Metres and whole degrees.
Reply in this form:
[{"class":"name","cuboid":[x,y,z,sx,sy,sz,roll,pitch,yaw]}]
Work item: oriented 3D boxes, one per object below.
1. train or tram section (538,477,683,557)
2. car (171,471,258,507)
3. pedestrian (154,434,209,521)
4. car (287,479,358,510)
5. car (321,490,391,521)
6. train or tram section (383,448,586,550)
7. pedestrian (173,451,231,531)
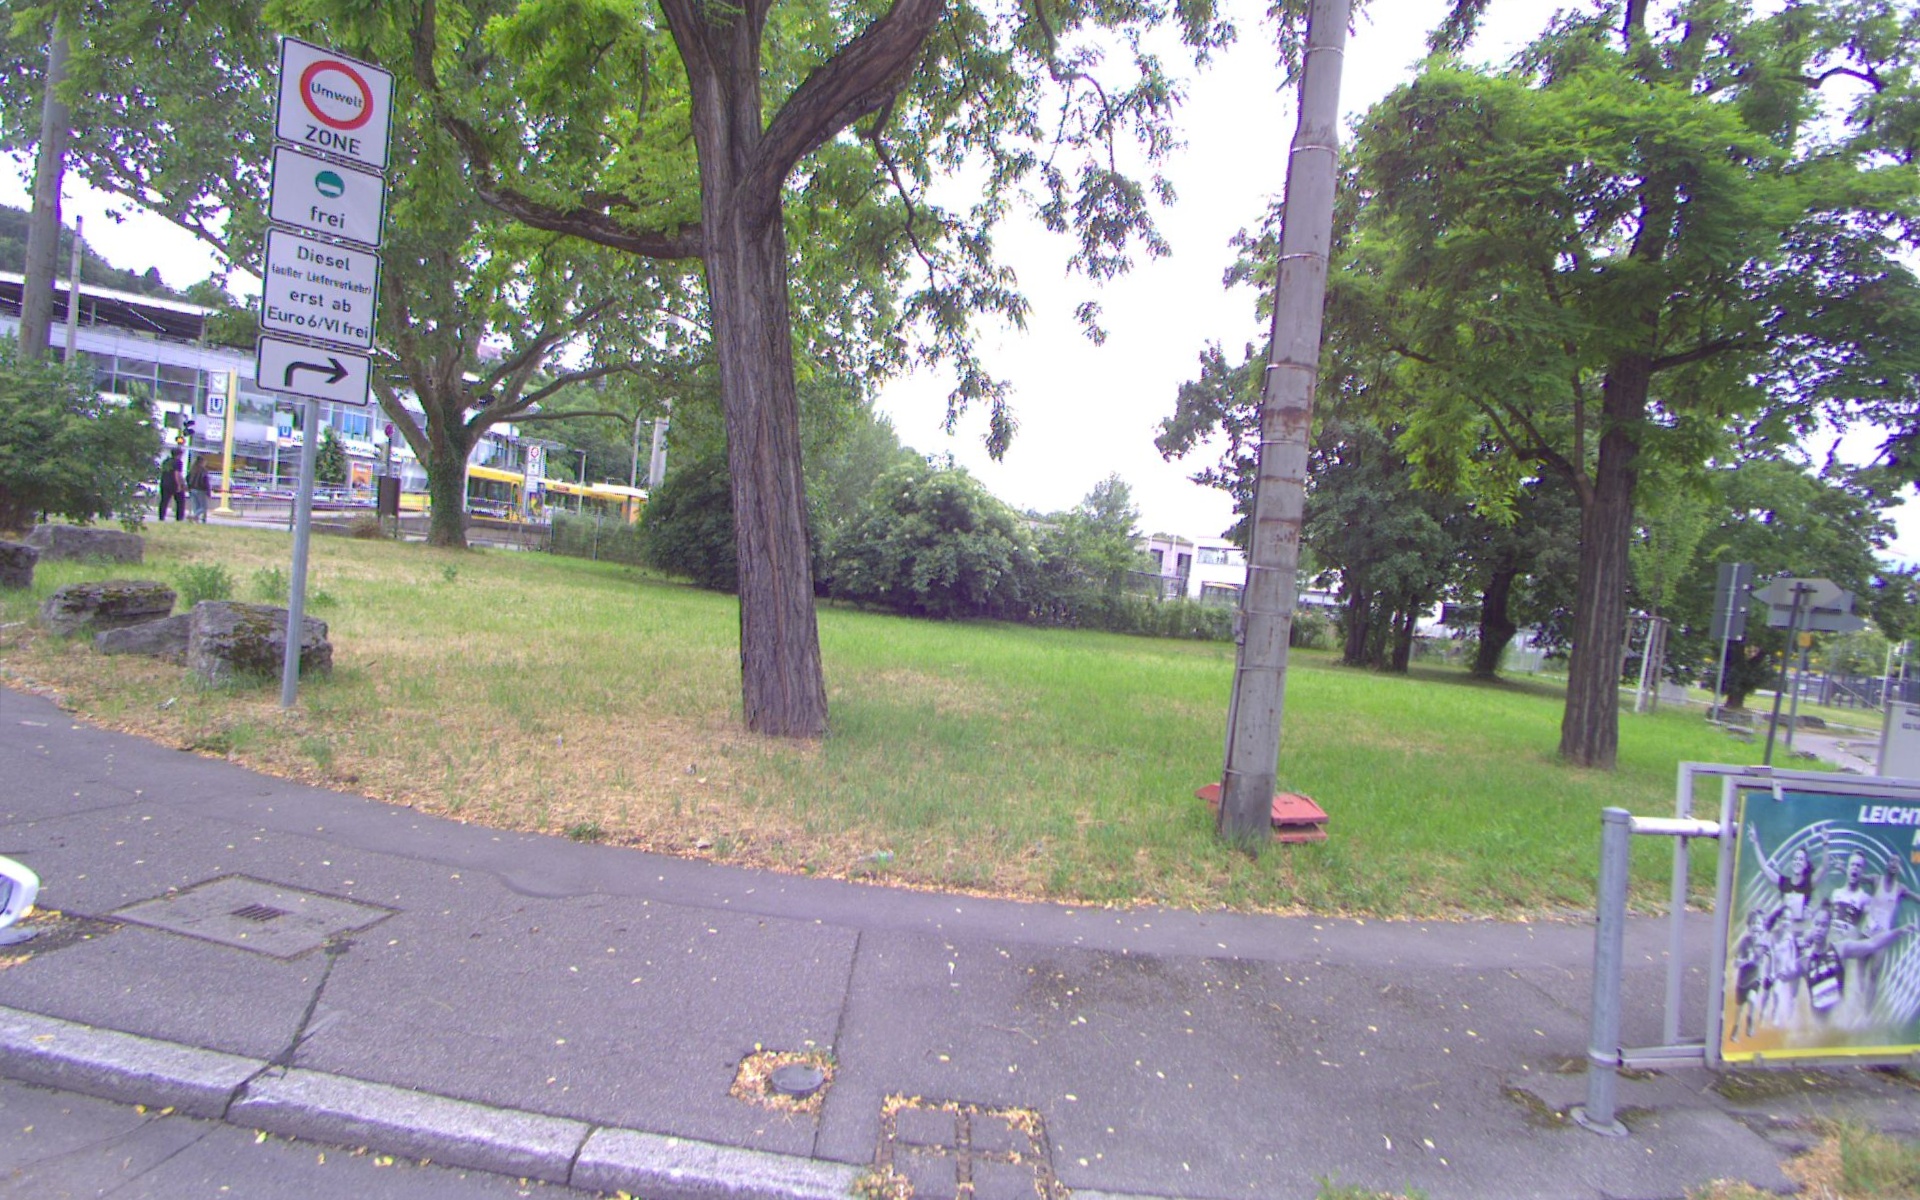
[{"class":"train or tram section","cuboid":[-21.829,-5.047,63.965,2.697,4.019,11.905,7,2,11]},{"class":"car","cuboid":[-45.261,-6.703,61.138,3.924,1.575,1.926,7,3,7]},{"class":"pedestrian","cuboid":[-18.176,-2.857,23.496,0.593,1.891,0.671,7,2,12]},{"class":"car","cuboid":[-43.478,-7.180,68.653,3.924,1.575,1.926,7,2,16]},{"class":"car","cuboid":[-42.776,-6.696,71.284,3.924,1.572,1.930,7,-2,16]},{"class":"train or tram section","cuboid":[-24.146,-4.955,52.252,2.697,4.019,11.905,7,2,11]},{"class":"pedestrian","cuboid":[-17.545,-2.513,23.306,0.593,1.709,0.672,7,-1,12]}]
